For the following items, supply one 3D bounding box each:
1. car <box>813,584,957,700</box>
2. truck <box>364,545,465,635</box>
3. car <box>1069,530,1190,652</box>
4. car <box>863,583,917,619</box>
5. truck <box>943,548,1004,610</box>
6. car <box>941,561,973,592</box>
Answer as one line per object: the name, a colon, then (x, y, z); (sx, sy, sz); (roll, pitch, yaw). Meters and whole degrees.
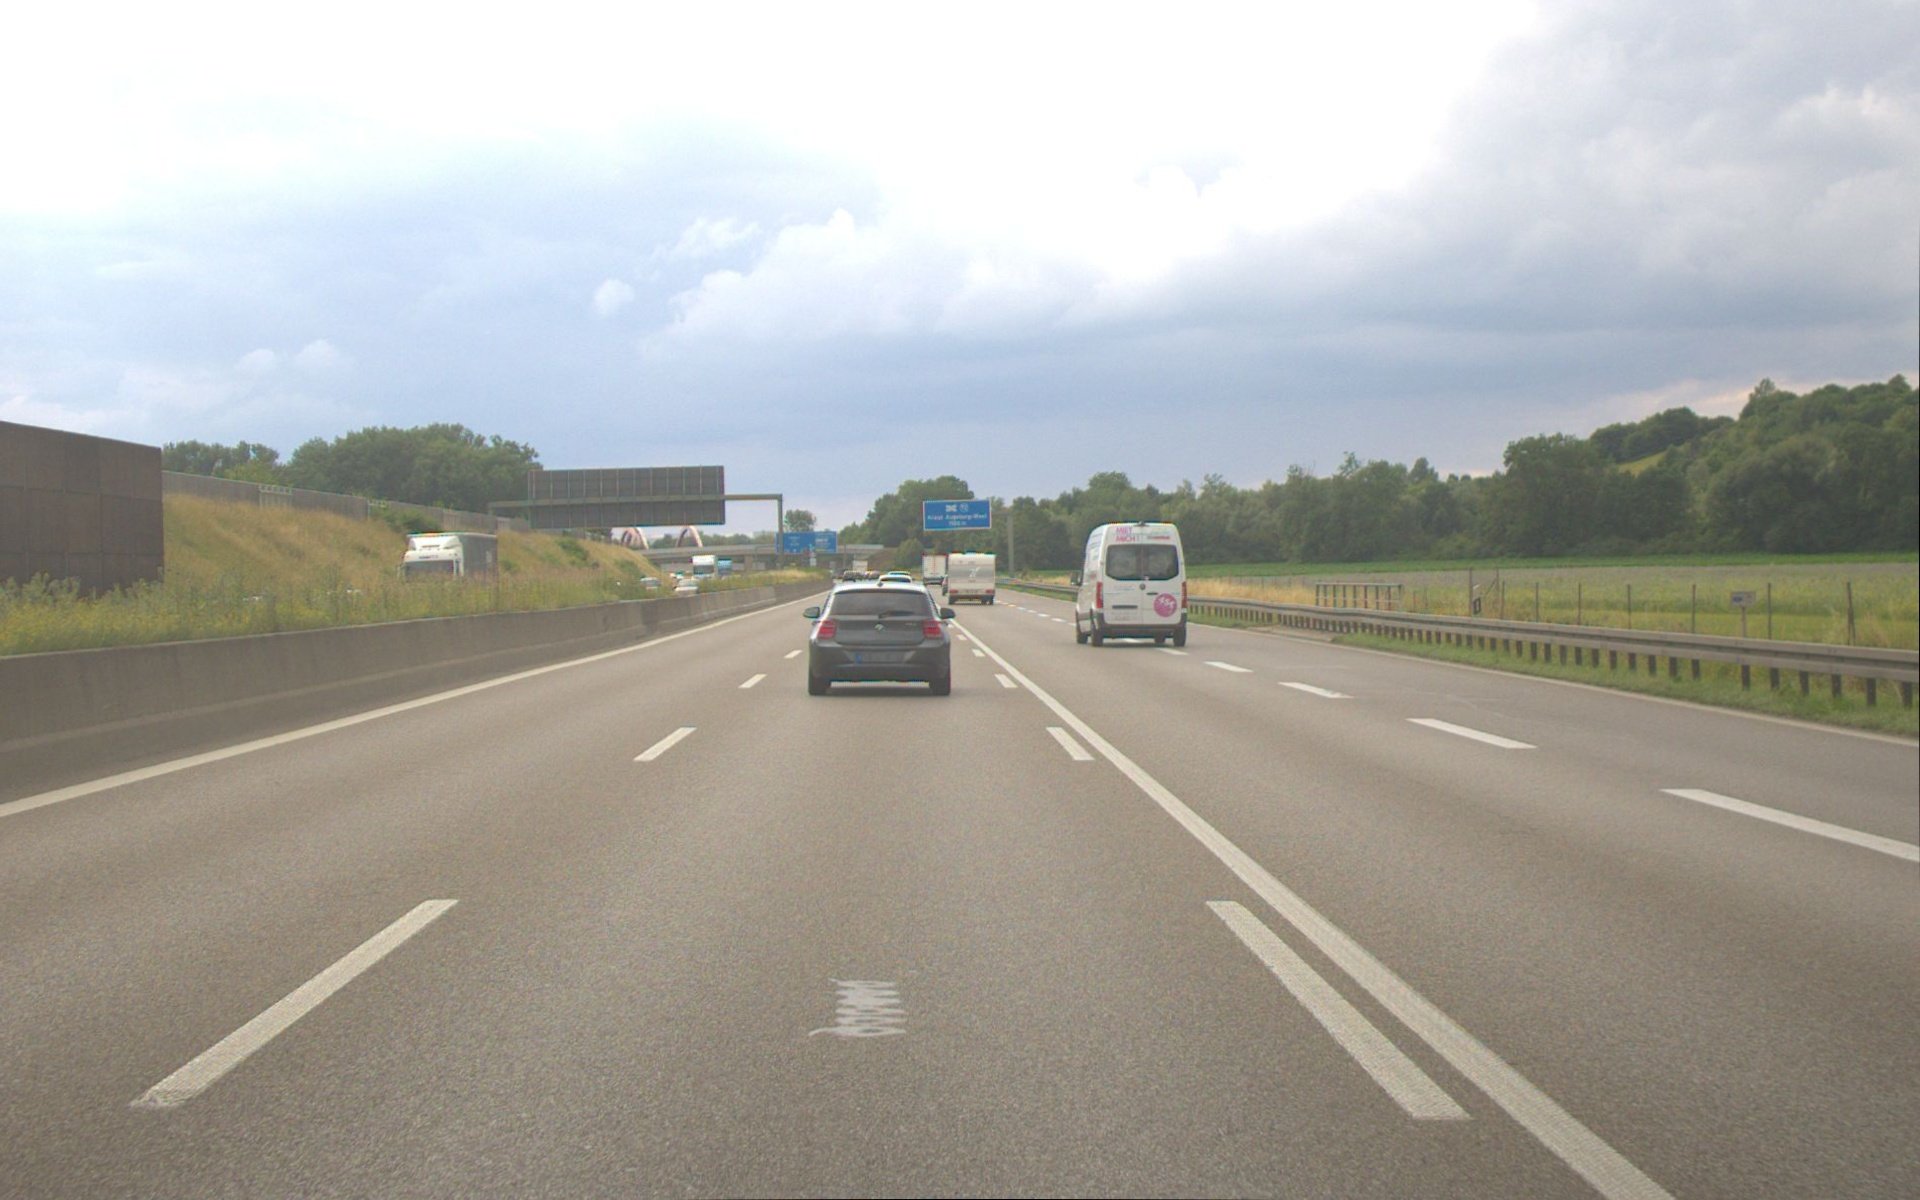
car: (-0.952, 0.499, 43.868); (1.743, 1.384, 4.000); (1, 0, -1)
truck: (-24.827, -0.464, 156.756); (3.668, 3.934, 6.013); (1, 0, -1)
car: (3.661, -0.201, 75.345); (2.221, 2.559, 6.256); (0, 0, -1)
car: (-2.661, 0.032, 129.813); (1.993, 1.294, 4.000); (-1, 0, -2)
truck: (0.616, -1.038, 174.243); (2.710, 2.954, 12.447); (1, 0, -1)
car: (-0.206, -1.606, 233.998); (1.993, 2.007, 4.000); (-1, 0, -1)
